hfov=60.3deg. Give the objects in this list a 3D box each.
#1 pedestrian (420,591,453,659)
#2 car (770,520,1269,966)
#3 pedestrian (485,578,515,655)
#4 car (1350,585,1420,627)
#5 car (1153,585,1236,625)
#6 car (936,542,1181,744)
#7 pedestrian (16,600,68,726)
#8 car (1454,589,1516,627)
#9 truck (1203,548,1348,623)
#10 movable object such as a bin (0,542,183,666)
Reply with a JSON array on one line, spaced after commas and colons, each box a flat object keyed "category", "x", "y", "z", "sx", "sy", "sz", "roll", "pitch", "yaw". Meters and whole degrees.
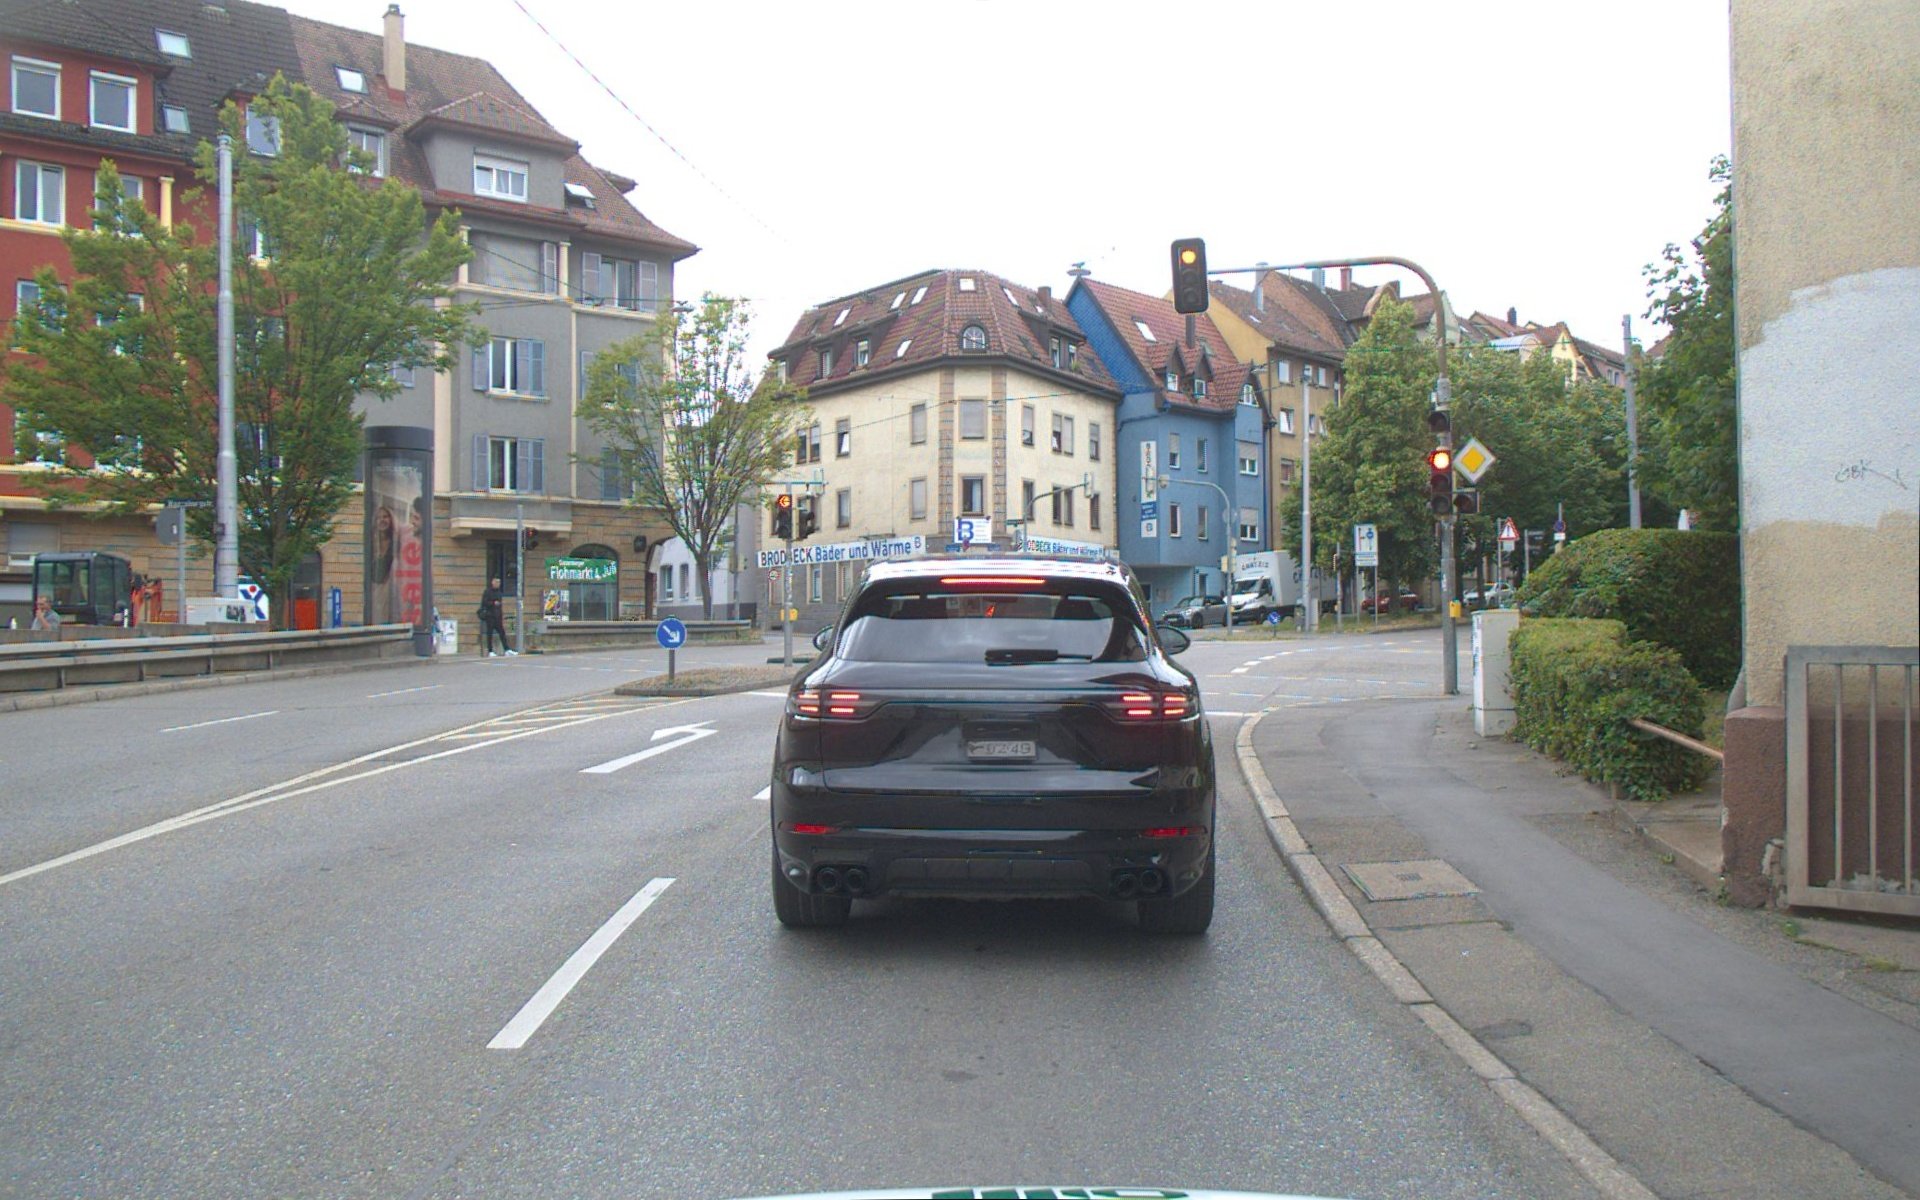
[{"category": "pedestrian", "x": -12.390, "y": 0.586, "z": 39.143, "sx": 0.577, "sy": 1.594, "sz": 0.486, "roll": 2, "pitch": 0, "yaw": -1}, {"category": "car", "x": 0.128, "y": 0.522, "z": 8.412, "sx": 1.939, "sy": 1.713, "sz": 3.998, "roll": 0, "pitch": 1, "yaw": -3}, {"category": "pedestrian", "x": -10.665, "y": 0.376, "z": 38.374, "sx": 0.503, "sy": 1.760, "sz": 0.451, "roll": 2, "pitch": 0, "yaw": 1}, {"category": "car", "x": 22.588, "y": 0.319, "z": 87.851, "sx": 1.965, "sy": 2.049, "sz": 3.975, "roll": 2, "pitch": 0, "yaw": 42}, {"category": "car", "x": 10.371, "y": 0.210, "z": 73.004, "sx": 1.961, "sy": 1.713, "sz": 3.983, "roll": 0, "pitch": 0, "yaw": 37}, {"category": "car", "x": 1.099, "y": 0.367, "z": 16.202, "sx": 1.951, "sy": 1.713, "sz": 4.003, "roll": 0, "pitch": 0, "yaw": 10}, {"category": "pedestrian", "x": -13.188, "y": 0.898, "z": 23.756, "sx": 0.537, "sy": 1.760, "sz": 0.586, "roll": 2, "pitch": -1, "yaw": -35}, {"category": "car", "x": 30.783, "y": 0.487, "z": 96.917, "sx": 1.965, "sy": 2.049, "sz": 3.975, "roll": 2, "pitch": 0, "yaw": 42}, {"category": "truck", "x": 15.349, "y": -0.646, "z": 79.871, "sx": 2.831, "sy": 3.398, "sz": 8.743, "roll": 2, "pitch": 0, "yaw": 41}, {"category": "movable object such as a bin", "x": -14.113, "y": 0.053, "z": 26.844, "sx": 1.870, "sy": 1.802, "sz": 3.986, "roll": 2, "pitch": 0, "yaw": -14}]
